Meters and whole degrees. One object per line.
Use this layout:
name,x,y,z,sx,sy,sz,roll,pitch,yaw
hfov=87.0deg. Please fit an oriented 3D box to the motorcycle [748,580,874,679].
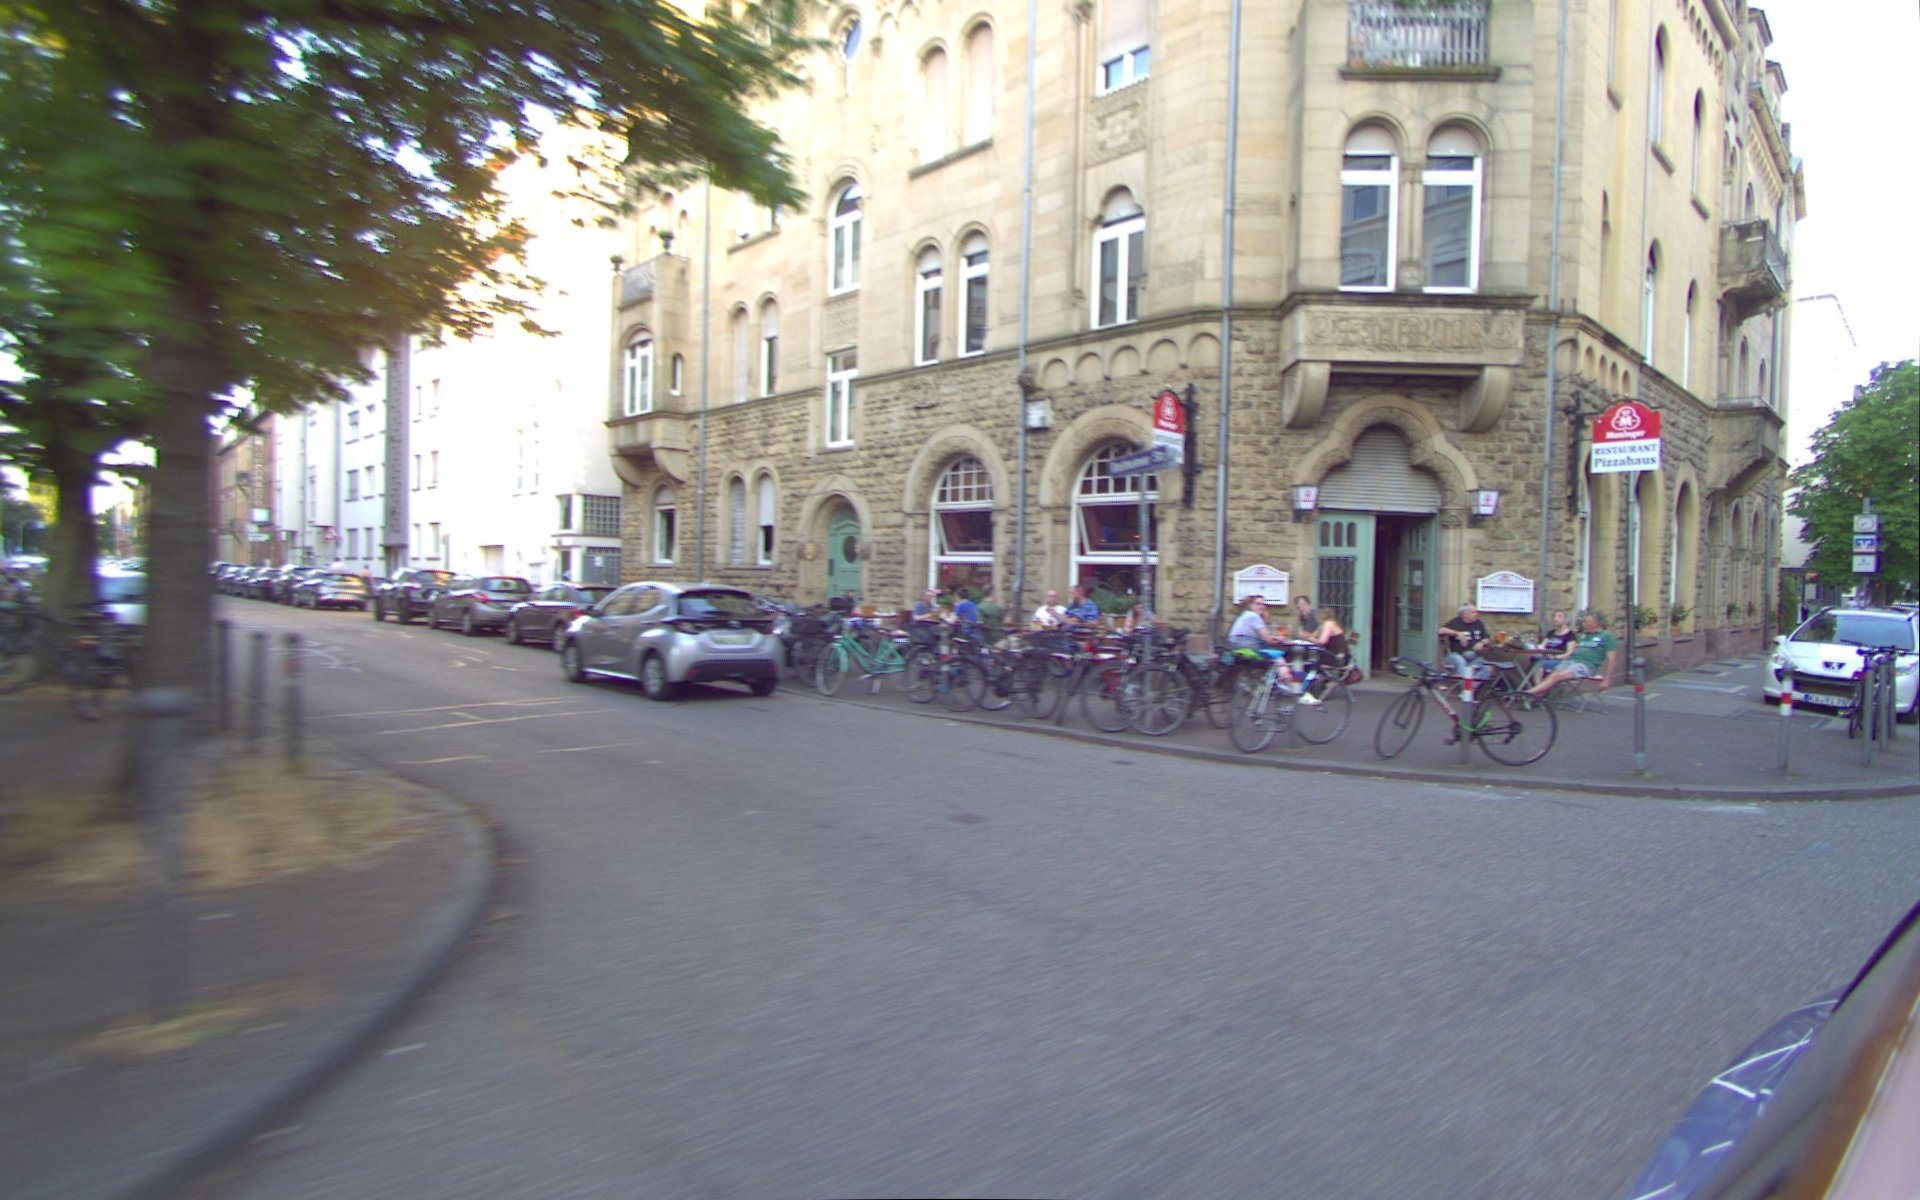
motorcycle,-2.207,0.395,15.230,0.637,1.369,1.974,2,2,39

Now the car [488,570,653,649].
car,-8.245,0.170,21.277,3.895,1.502,1.797,1,0,44

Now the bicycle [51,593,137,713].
bicycle,-8.337,0.459,9.721,0.569,1.008,1.736,0,2,-43

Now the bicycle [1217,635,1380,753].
bicycle,3.174,0.841,9.434,1.672,0.992,0.448,1,1,-31

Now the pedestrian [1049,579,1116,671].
pedestrian,1.848,0.363,15.277,0.729,1.337,0.657,2,1,43

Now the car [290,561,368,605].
car,-22.864,-0.586,36.617,1.795,1.502,3.900,0,0,-42

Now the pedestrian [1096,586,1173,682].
pedestrian,2.477,0.464,14.353,0.703,1.298,0.865,2,1,41

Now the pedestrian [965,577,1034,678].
pedestrian,0.584,0.379,14.879,0.709,1.422,0.786,2,1,30

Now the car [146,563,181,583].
car,-63.681,-2.152,80.899,1.796,1.502,3.898,0,2,-44

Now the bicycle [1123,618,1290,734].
bicycle,2.522,0.731,10.278,1.798,1.080,0.514,1,1,-31

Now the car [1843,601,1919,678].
car,21.056,0.832,22.549,1.765,1.502,4.483,5,3,44

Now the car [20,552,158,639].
car,-16.848,-0.090,19.510,1.796,1.502,3.994,0,0,-44

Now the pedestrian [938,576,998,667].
pedestrian,0.128,0.328,16.478,0.758,1.413,0.617,-1,2,-40

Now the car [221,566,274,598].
car,-36.179,-0.929,51.352,1.794,1.502,3.902,1,1,-41

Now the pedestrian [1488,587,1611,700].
pedestrian,7.926,0.567,13.641,1.080,1.413,0.843,3,2,-16

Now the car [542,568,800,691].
car,-4.093,0.296,13.943,1.852,1.401,4.031,0,2,-42

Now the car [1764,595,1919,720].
car,13.711,0.774,15.110,4.384,1.502,1.768,1,4,-40

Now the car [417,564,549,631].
car,-11.704,-0.075,24.735,1.796,1.502,3.898,0,0,-43

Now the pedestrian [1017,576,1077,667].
pedestrian,1.354,0.317,15.808,0.590,1.375,0.726,2,1,42

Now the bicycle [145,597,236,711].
bicycle,-7.842,0.499,10.288,0.569,1.008,1.736,0,2,-43

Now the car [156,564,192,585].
car,-60.115,-1.989,77.370,1.796,1.502,3.898,0,2,-44

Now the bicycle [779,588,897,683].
bicycle,-1.745,0.480,14.732,0.582,1.278,1.809,2,1,38

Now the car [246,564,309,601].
car,-29.643,-0.773,43.891,1.794,1.502,3.901,1,1,-41

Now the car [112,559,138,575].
car,-85.811,-3.381,104.001,1.796,1.502,3.898,0,2,-44

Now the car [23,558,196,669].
car,-13.350,0.170,15.809,1.796,1.502,3.897,0,0,-44

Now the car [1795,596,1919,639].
car,35.341,0.659,39.325,1.793,1.470,4.294,1,1,-44

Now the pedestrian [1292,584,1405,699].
pedestrian,4.999,0.517,13.070,1.082,1.413,0.842,0,2,-4

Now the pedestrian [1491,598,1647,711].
pedestrian,7.692,0.669,12.846,1.393,1.301,0.841,2,2,3

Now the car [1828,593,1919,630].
car,45.009,0.552,49.048,1.793,1.697,4.294,1,1,-44

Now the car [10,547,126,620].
car,-20.390,-0.361,23.078,1.796,1.502,3.897,0,0,-44

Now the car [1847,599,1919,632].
car,47.329,0.800,50.625,1.793,1.556,4.294,1,1,-44

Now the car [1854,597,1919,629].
car,49.017,0.674,52.149,1.793,1.547,4.294,1,1,-44

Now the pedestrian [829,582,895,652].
pedestrian,-1.832,0.302,18.883,0.923,1.242,0.810,2,1,43

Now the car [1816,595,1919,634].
car,39.742,0.617,43.546,1.793,1.547,4.294,1,1,-44

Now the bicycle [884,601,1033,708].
bicycle,-0.037,0.633,12.460,1.821,1.176,0.532,2,1,33

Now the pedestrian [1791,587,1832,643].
pedestrian,28.074,0.482,33.379,0.819,1.788,0.851,1,2,-40

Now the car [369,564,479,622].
car,-15.023,-0.200,28.282,1.795,1.502,3.899,0,0,-43

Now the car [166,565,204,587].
car,-56.517,-1.791,73.818,1.796,1.502,3.899,0,2,-43

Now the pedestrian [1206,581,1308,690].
pedestrian,4.012,0.461,13.724,1.082,1.413,0.842,0,2,-3

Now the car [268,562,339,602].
car,-25.936,-0.695,39.922,1.795,1.502,3.900,0,0,-41

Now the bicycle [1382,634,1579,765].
bicycle,4.534,0.856,8.869,1.449,1.052,0.432,1,1,5

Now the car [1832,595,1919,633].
car,41.667,0.639,44.941,1.793,1.547,4.294,1,1,-44

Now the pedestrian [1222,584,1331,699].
pedestrian,4.049,0.510,13.018,1.082,1.413,0.842,0,2,-3

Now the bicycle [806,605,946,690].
bicycle,-1.146,0.631,13.679,1.796,1.091,0.592,1,1,-13

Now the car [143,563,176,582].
car,-67.387,-2.284,85.160,1.796,1.502,3.898,0,2,-44

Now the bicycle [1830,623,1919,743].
bicycle,10.538,0.890,11.513,2.079,1.165,0.685,1,4,-44

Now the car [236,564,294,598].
car,-32.525,-0.893,47.310,1.794,1.502,3.902,1,1,-41

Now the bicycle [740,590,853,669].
bicycle,-2.570,0.437,16.087,0.544,1.175,1.806,2,1,42

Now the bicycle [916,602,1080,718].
bicycle,0.407,0.639,11.476,1.821,1.166,0.551,2,1,33

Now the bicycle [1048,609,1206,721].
bicycle,1.845,0.678,11.058,1.798,1.126,0.503,1,1,-31

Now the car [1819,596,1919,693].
car,17.046,0.758,18.550,1.764,1.502,4.487,6,4,42

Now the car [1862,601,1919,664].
car,25.189,0.833,26.631,4.481,1.502,1.766,0,3,-44

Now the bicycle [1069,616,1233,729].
bicycle,2.010,0.719,10.538,1.798,1.083,0.477,1,1,-31

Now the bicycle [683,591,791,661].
bicycle,-3.778,0.425,17.284,0.544,1.120,1.806,2,1,42

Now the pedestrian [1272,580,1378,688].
pedestrian,4.951,0.443,13.774,1.082,1.413,0.842,0,2,-4

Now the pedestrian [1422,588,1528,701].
pedestrian,6.849,0.563,13.516,0.880,1.414,1.011,2,1,3

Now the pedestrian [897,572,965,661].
pedestrian,-0.496,0.259,17.076,0.899,1.443,0.703,2,1,43

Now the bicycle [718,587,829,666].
bicycle,-3.019,0.415,16.491,0.544,1.209,1.806,2,1,42

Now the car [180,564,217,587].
car,-52.362,-1.701,69.543,1.794,1.502,3.902,1,1,-41
